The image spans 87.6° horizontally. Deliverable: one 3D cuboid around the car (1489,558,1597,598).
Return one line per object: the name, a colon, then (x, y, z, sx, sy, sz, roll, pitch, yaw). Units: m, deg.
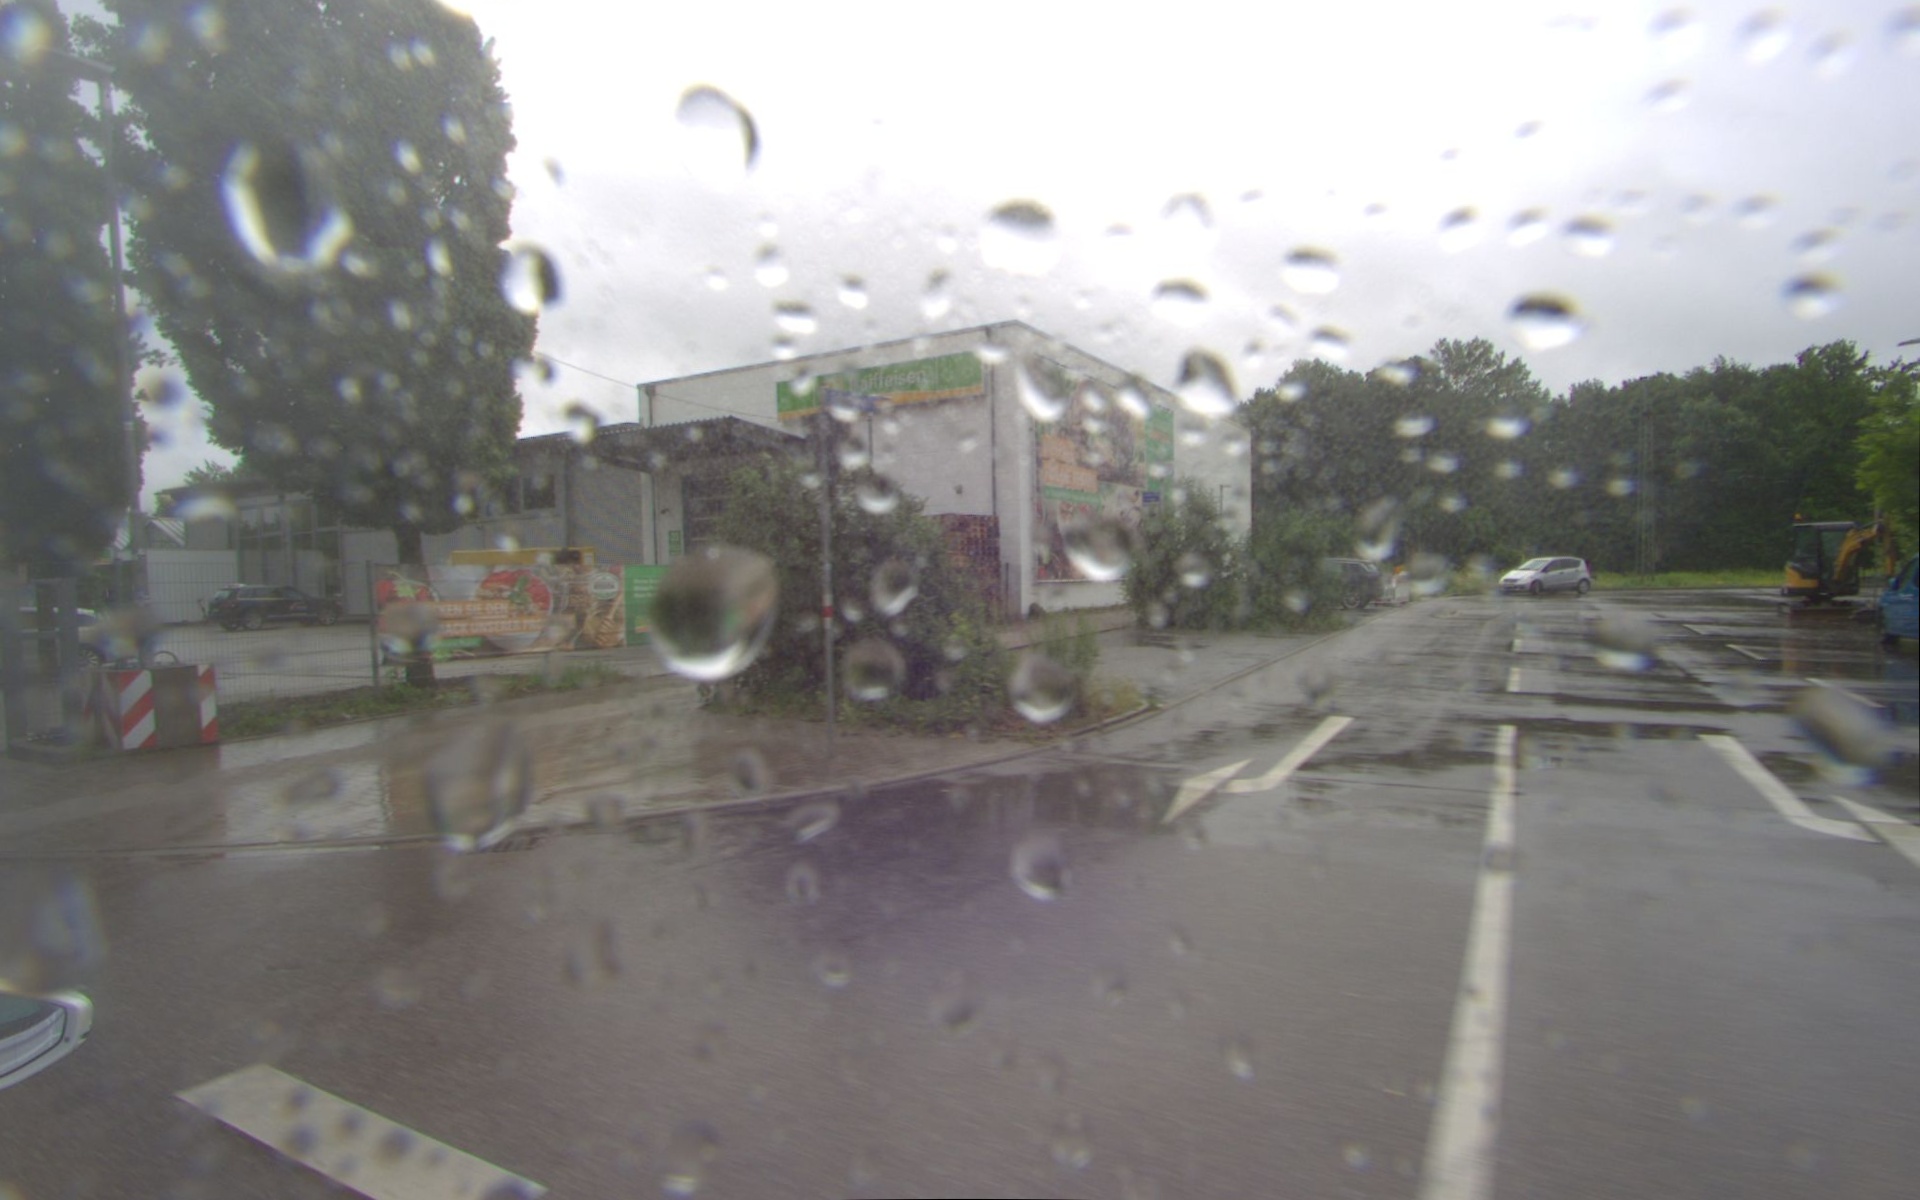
car: (25.479, -0.982, 43.766, 3.928, 1.623, 1.879, -2, 2, -15)

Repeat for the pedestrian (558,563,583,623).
pedestrian: (-11.568, -0.214, 29.731, 0.427, 1.742, 0.453, 0, 4, 34)

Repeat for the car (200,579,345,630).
car: (-27.877, 0.135, 40.737, 2.033, 1.858, 4.351, 0, 3, 32)

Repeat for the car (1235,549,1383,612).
car: (11.270, -0.635, 32.379, 4.314, 1.848, 1.781, -1, 3, 28)

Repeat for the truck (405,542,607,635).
truck: (-14.651, -0.362, 32.088, 7.314, 2.696, 2.293, 0, 3, 34)

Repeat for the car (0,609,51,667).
car: (-22.824, 0.887, 21.994, 1.594, 1.273, 3.933, -1, 1, 29)

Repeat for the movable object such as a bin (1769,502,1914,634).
movable object such as a bin: (22.146, -0.773, 25.338, 1.970, 3.033, 3.980, 0, 2, 30)

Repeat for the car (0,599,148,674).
car: (-20.288, 0.763, 21.008, 1.862, 1.482, 4.696, 0, 1, 29)

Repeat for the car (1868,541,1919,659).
car: (17.086, -0.025, 16.856, 1.804, 1.948, 3.980, 0, 2, 30)
